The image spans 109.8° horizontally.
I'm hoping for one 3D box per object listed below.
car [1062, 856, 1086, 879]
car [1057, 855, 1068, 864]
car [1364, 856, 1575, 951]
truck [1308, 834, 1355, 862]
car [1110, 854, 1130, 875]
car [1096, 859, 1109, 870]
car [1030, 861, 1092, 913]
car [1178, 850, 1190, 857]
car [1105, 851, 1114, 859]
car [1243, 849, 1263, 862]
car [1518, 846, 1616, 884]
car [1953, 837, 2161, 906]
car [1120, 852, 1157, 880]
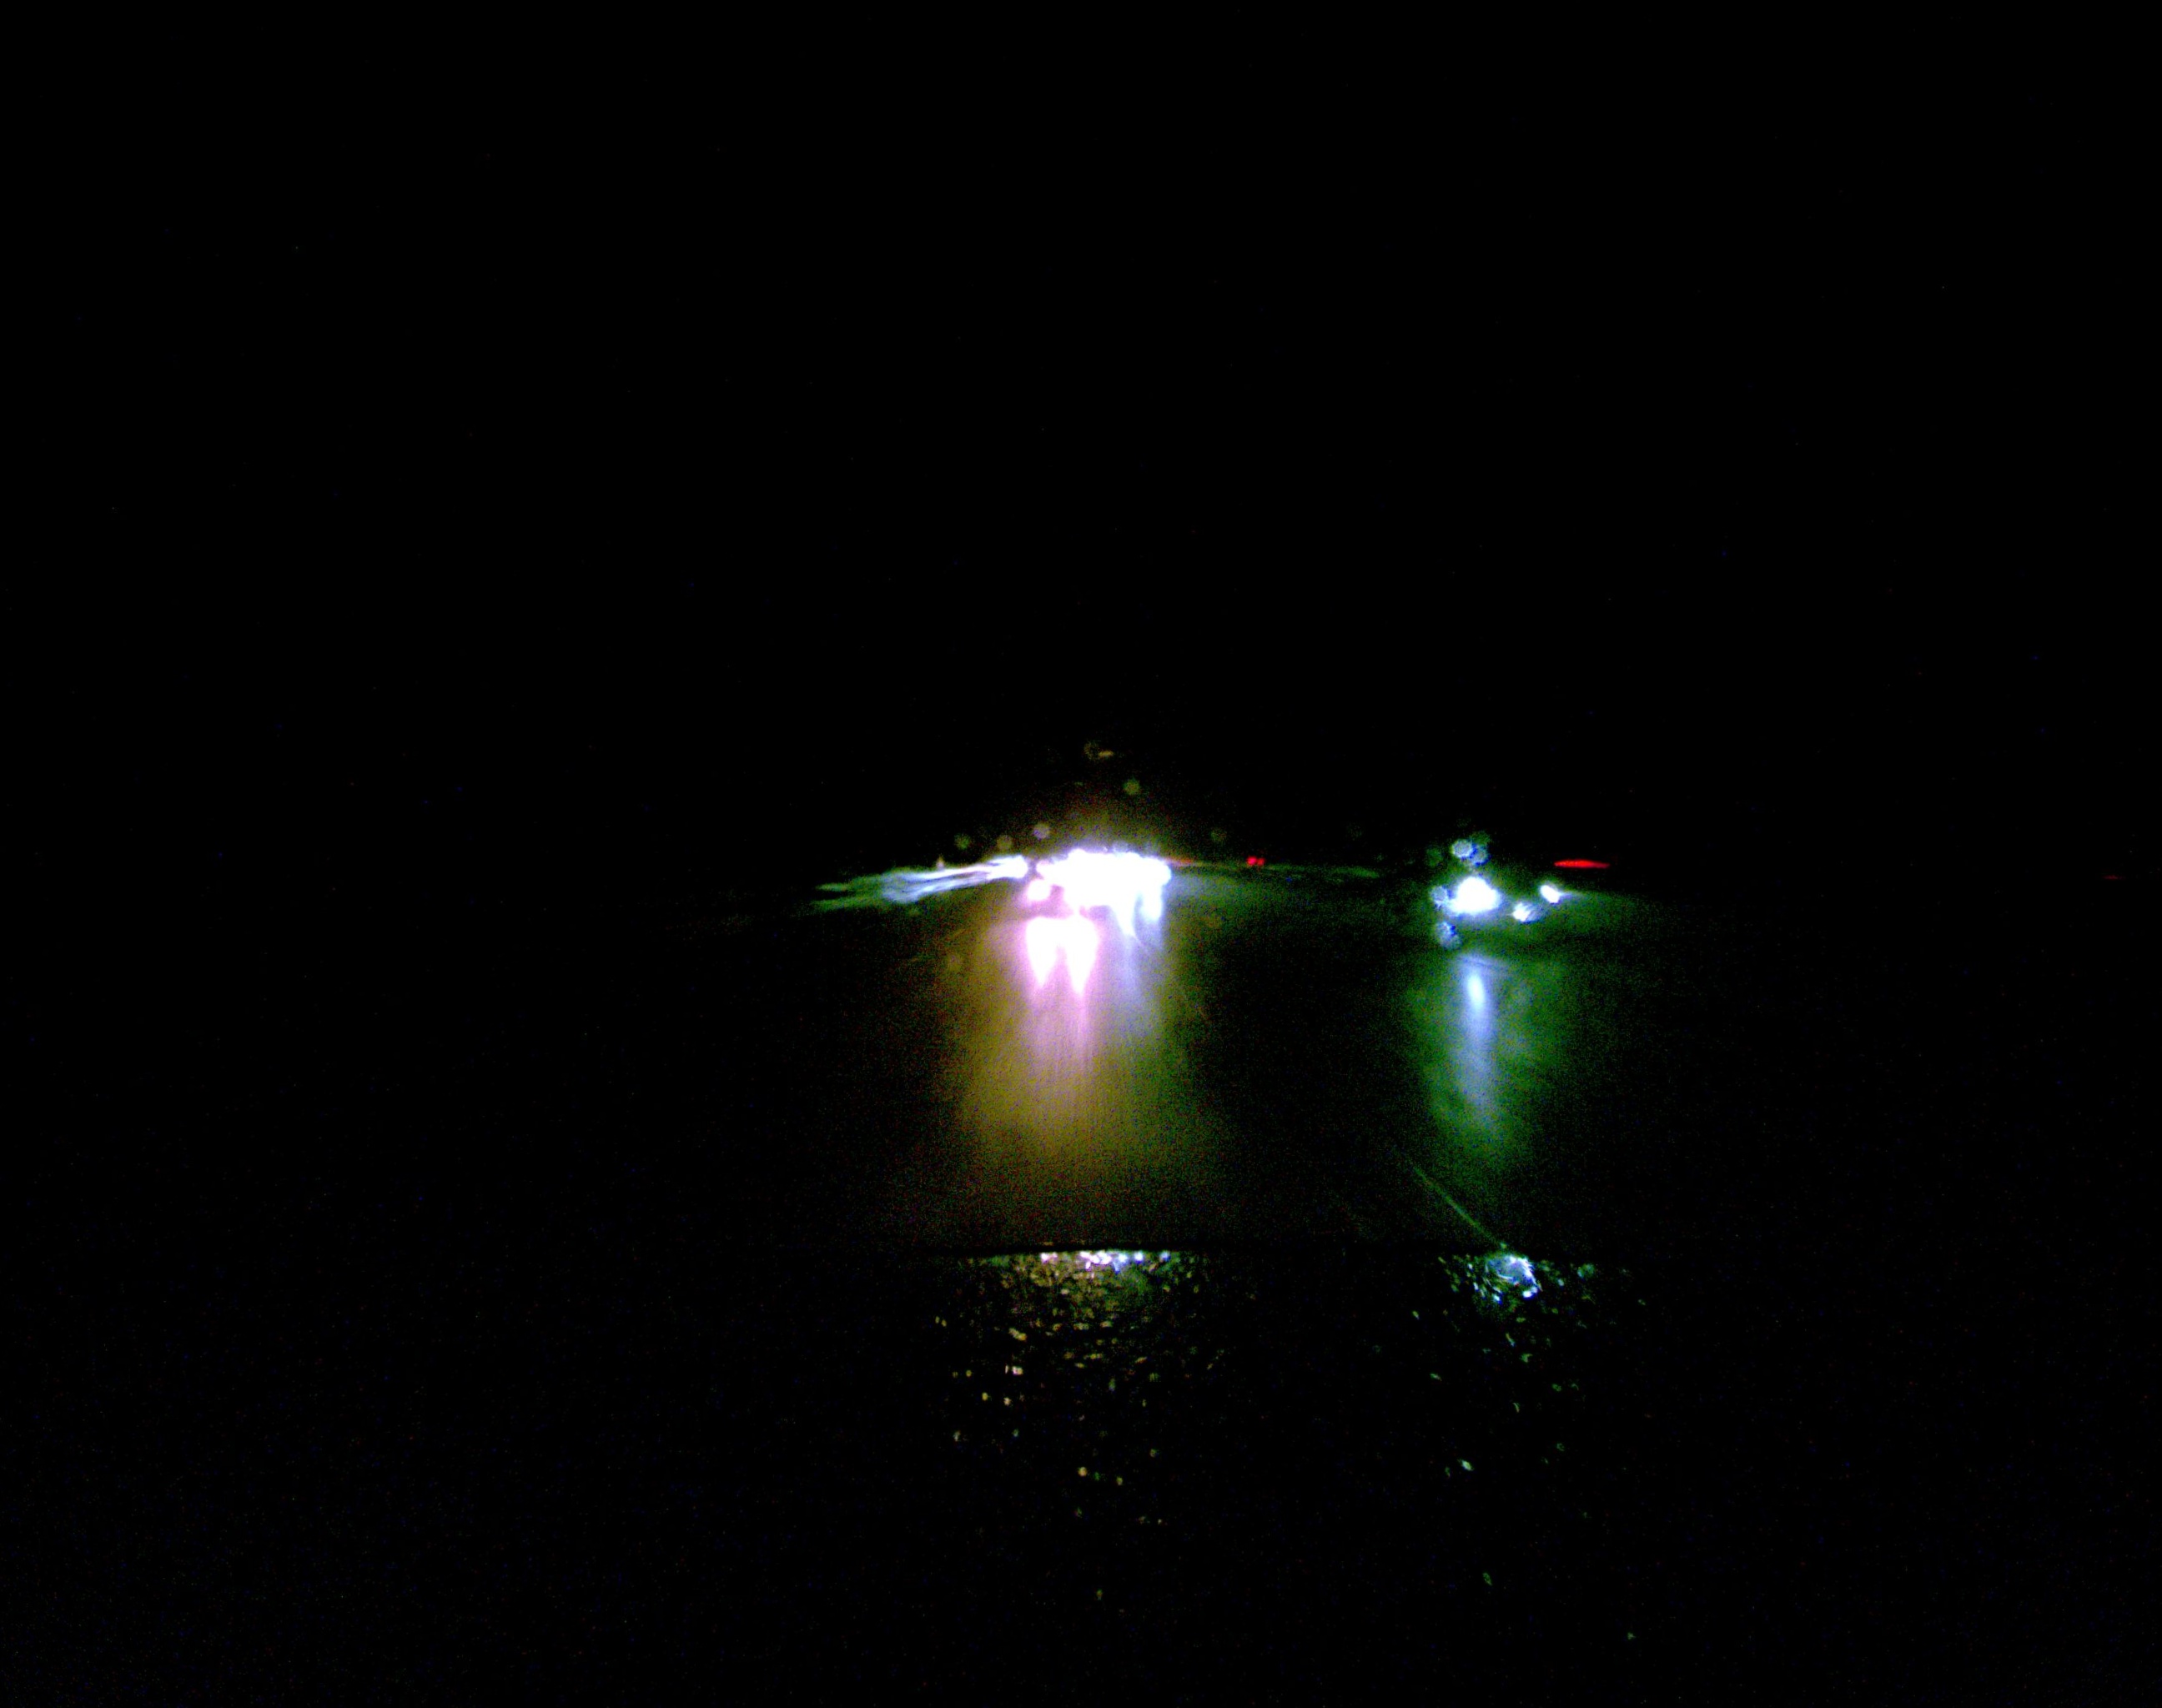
[{"bbox_3d":[-0.500,1.015,60.611,1.792,1.681,4.000,-2,0,0],"label":"car"},{"bbox_3d":[-3.505,1.107,145.247,1.755,1.563,4.000,-2,0,1],"label":"car"},{"bbox_3d":[6.857,0.778,13.975,1.661,1.422,4.246,-2,0,0],"label":"car"},{"bbox_3d":[27.493,-0.708,83.735,2.907,2.830,7.745,-2,0,4],"label":"truck"},{"bbox_3d":[3.509,0.894,69.190,1.611,1.775,3.910,-2,0,1],"label":"car"},{"bbox_3d":[3.238,1.519,113.945,1.755,1.563,4.000,-2,0,1],"label":"car"},{"bbox_3d":[-0.562,0.991,24.502,1.774,1.449,4.195,-2,0,1],"label":"car"},{"bbox_3d":[23.763,-0.127,175.524,1.999,1.663,4.346,-2,0,0],"label":"car"},{"bbox_3d":[6.426,0.266,171.290,1.800,1.728,4.000,-2,0,1],"label":"car"},{"bbox_3d":[23.664,0.194,104.874,1.617,1.663,4.658,-2,0,0],"label":"car"},{"bbox_3d":[23.678,0.502,37.249,1.999,1.663,4.346,-2,0,0],"label":"car"},{"bbox_3d":[28.032,0.420,21.366,1.999,1.663,4.346,-2,0,0],"label":"car"},{"bbox_3d":[3.616,0.748,48.663,1.960,1.655,4.916,-2,0,0],"label":"car"}]
